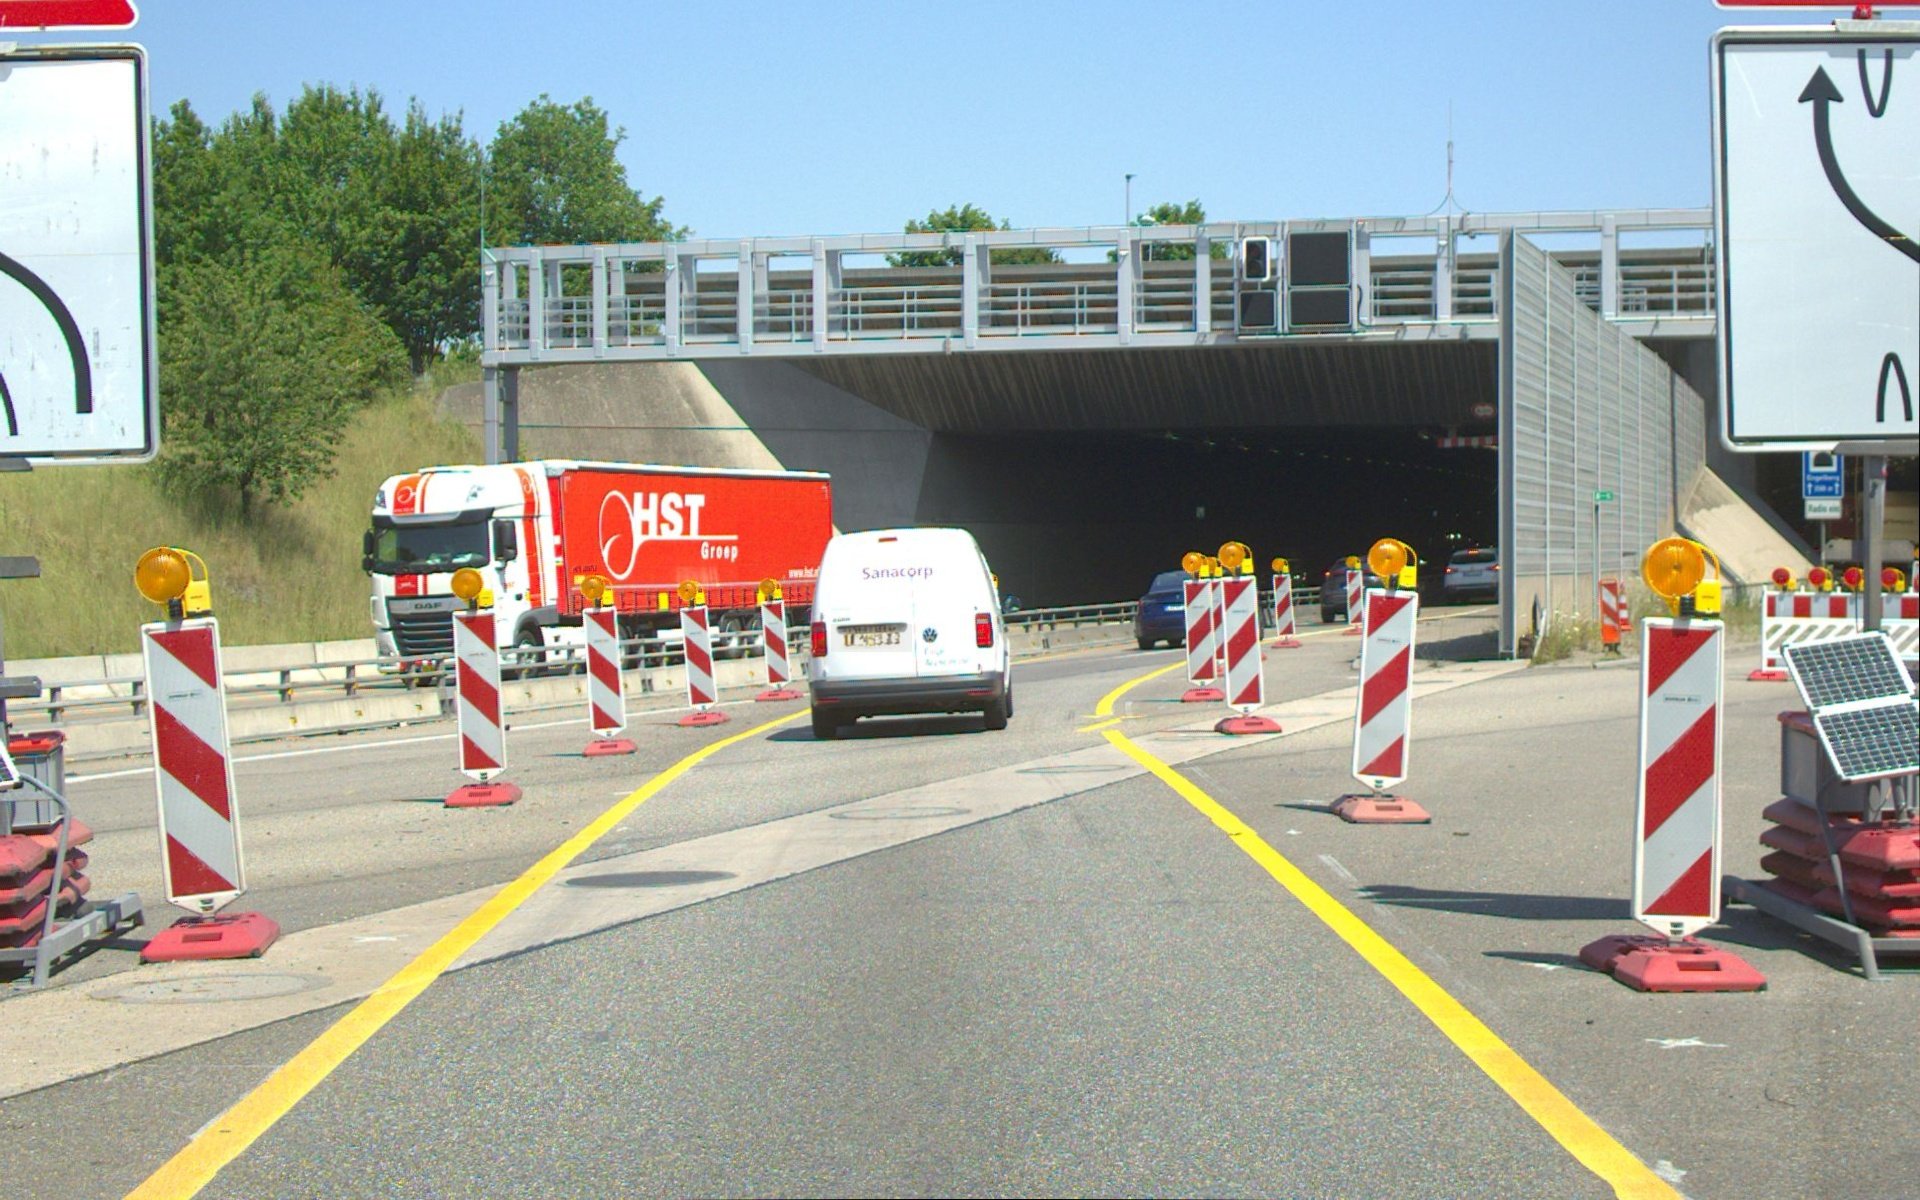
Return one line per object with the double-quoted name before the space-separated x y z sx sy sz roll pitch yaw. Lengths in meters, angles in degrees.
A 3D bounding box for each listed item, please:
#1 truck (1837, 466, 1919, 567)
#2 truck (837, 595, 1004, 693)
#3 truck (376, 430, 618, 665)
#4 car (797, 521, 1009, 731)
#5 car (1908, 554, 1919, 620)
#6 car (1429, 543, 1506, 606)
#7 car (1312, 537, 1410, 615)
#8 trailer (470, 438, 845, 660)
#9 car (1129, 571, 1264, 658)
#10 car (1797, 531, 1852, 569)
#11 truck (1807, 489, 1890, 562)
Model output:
"truck" 45.348 -3.960 168.093 3.403 4.320 16.529 2 0 10
"truck" -0.791 0.910 72.852 1.995 1.867 4.757 -1 1 19
"truck" -8.400 -0.938 62.917 2.336 4.094 5.013 -1 0 19
"car" -0.472 0.210 31.622 1.808 1.788 3.731 -1 0 1
"car" 25.245 -0.306 87.790 1.816 1.637 4.649 1 0 14
"car" 14.732 -0.743 99.664 1.809 1.745 4.407 -1 0 14
"car" 9.684 -0.582 82.772 1.809 1.809 4.407 -1 0 14
"trailer" -5.861 -1.001 70.241 2.340 4.088 13.249 -1 0 19
"car" 4.439 0.243 63.994 1.809 1.532 4.407 -1 0 13
"car" 38.388 -2.214 152.688 1.815 1.624 4.189 1 0 7
"truck" 53.607 -4.426 207.866 3.403 4.057 16.529 1 0 10
